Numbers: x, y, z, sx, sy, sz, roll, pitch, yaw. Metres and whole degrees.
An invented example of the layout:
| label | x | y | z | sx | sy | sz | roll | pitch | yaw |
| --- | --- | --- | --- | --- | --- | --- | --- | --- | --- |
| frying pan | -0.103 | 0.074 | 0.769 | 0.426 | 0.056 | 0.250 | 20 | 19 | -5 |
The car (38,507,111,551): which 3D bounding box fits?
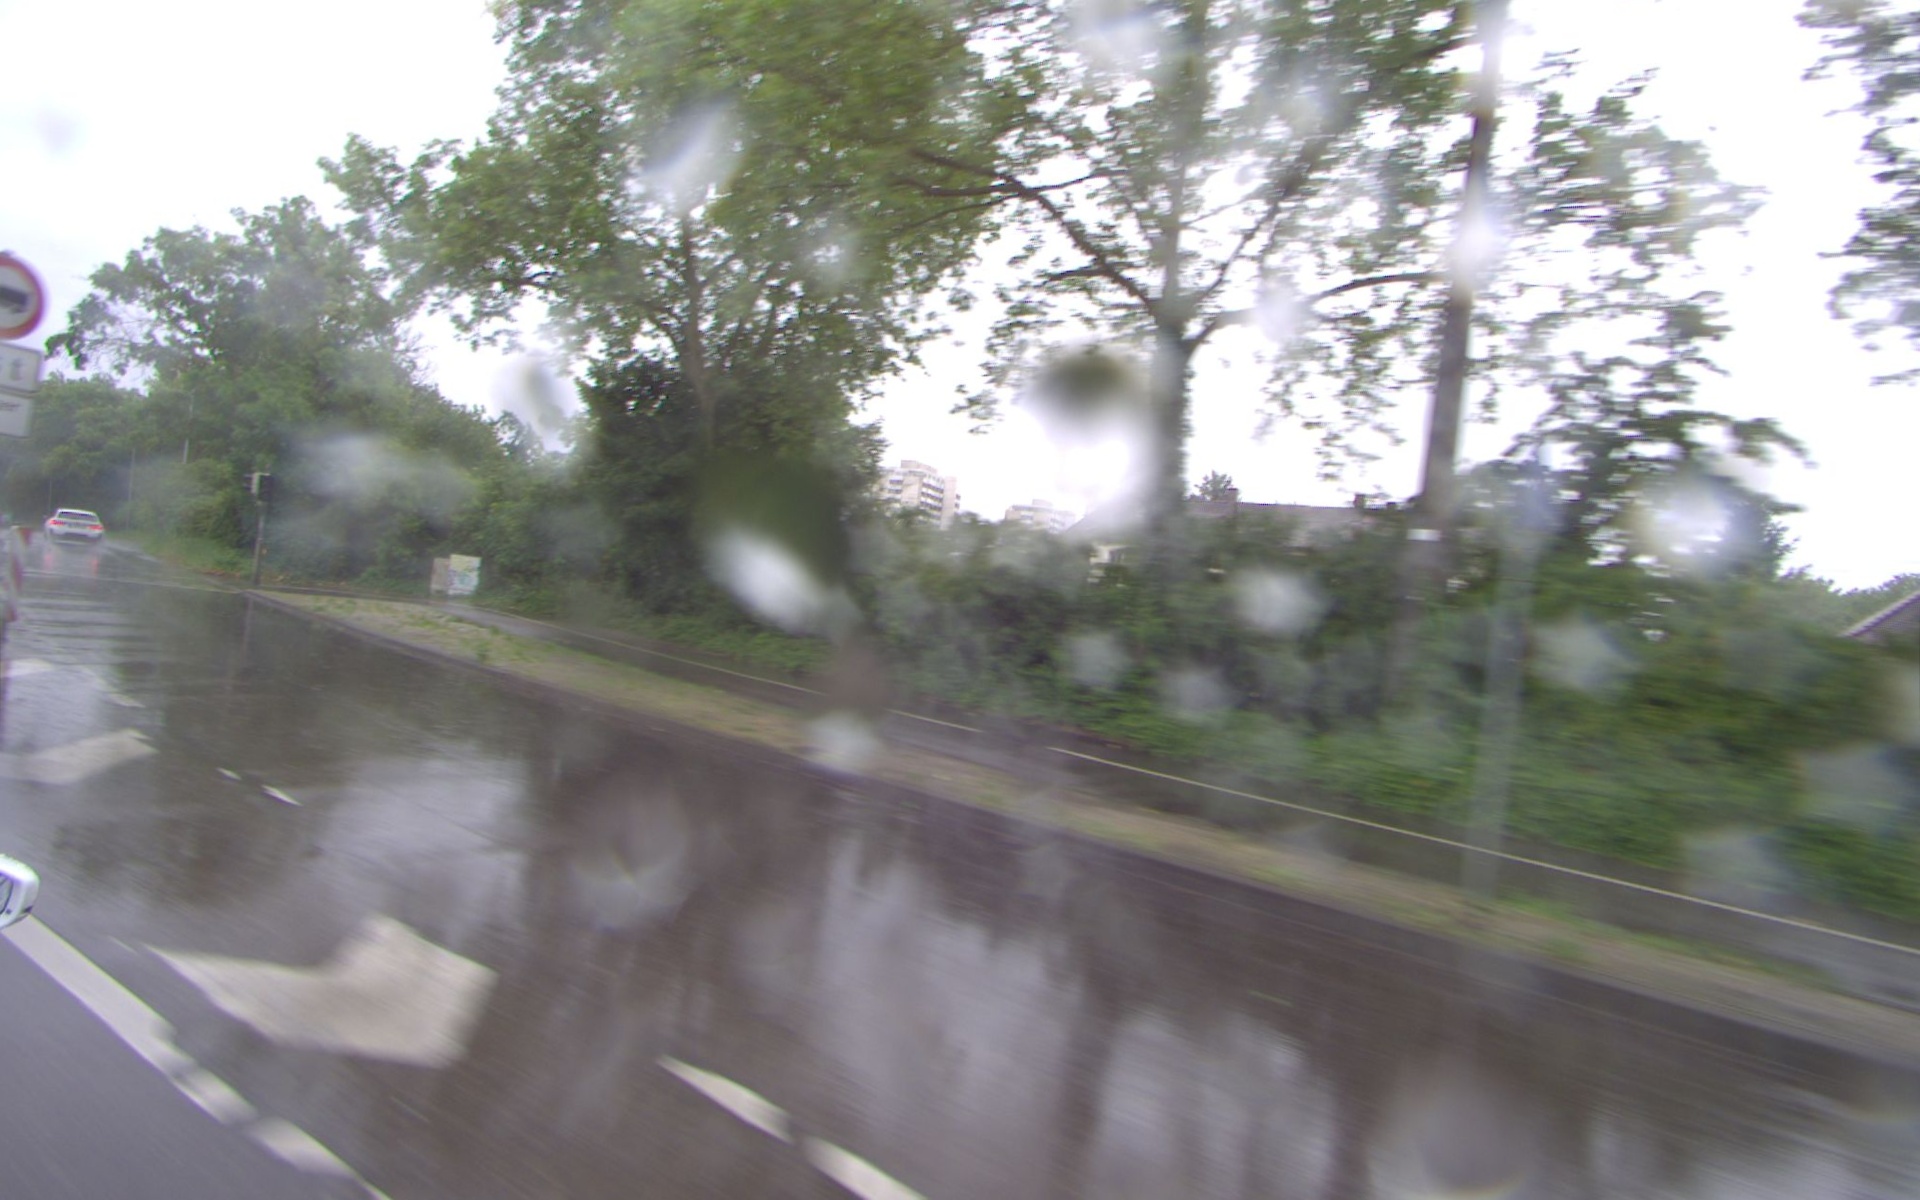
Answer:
| label | x | y | z | sx | sy | sz | roll | pitch | yaw |
| --- | --- | --- | --- | --- | --- | --- | --- | --- | --- |
| car | -36.836 | -2.949 | 41.935 | 1.879 | 1.448 | 3.959 | 8 | -1 | -37 |
